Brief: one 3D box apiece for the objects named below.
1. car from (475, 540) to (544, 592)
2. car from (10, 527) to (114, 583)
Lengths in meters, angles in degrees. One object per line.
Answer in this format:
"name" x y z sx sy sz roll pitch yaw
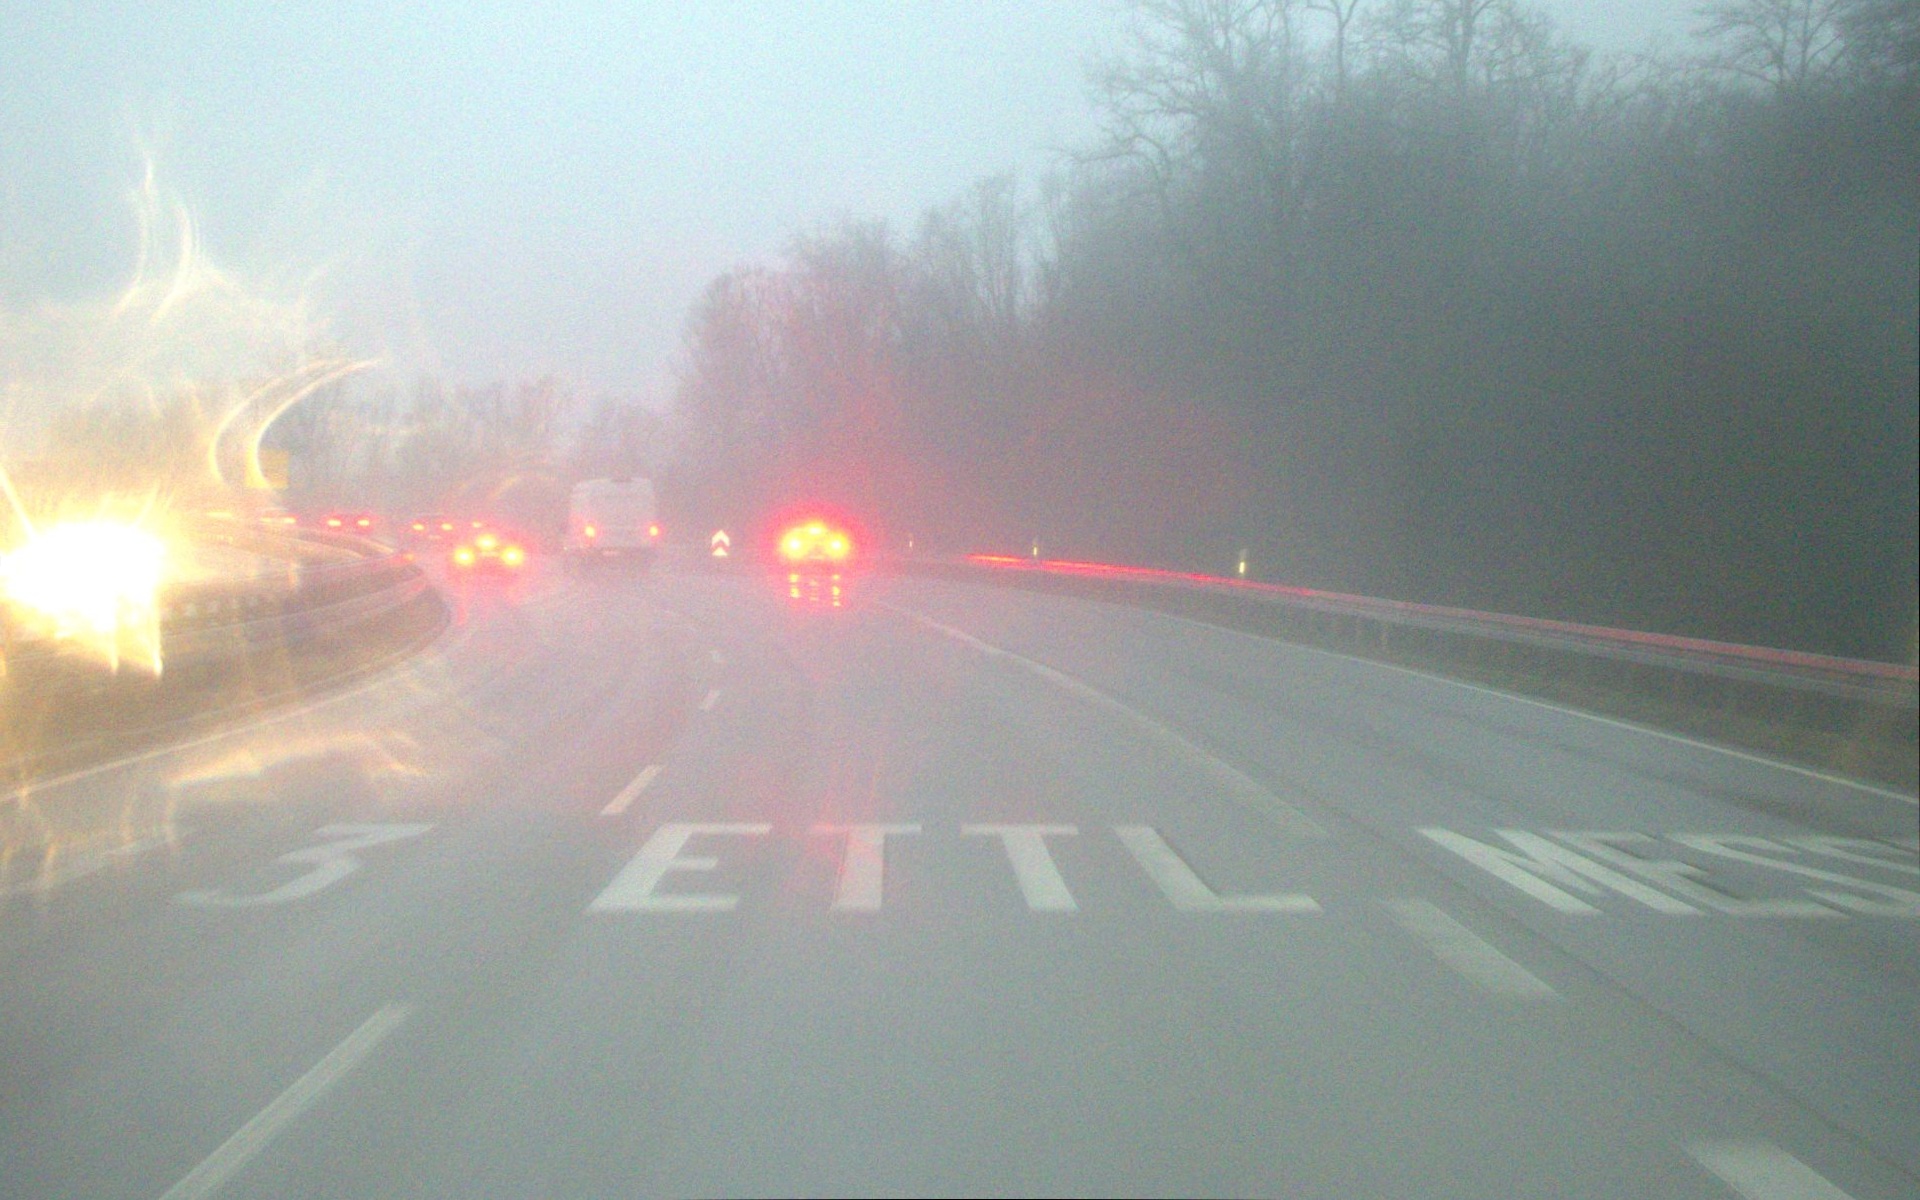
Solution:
"car" -12.122 -0.914 92.671 1.416 1.313 3.083 2 1 0
"car" -27.627 -1.401 105.876 1.794 1.678 4.689 0 1 2
